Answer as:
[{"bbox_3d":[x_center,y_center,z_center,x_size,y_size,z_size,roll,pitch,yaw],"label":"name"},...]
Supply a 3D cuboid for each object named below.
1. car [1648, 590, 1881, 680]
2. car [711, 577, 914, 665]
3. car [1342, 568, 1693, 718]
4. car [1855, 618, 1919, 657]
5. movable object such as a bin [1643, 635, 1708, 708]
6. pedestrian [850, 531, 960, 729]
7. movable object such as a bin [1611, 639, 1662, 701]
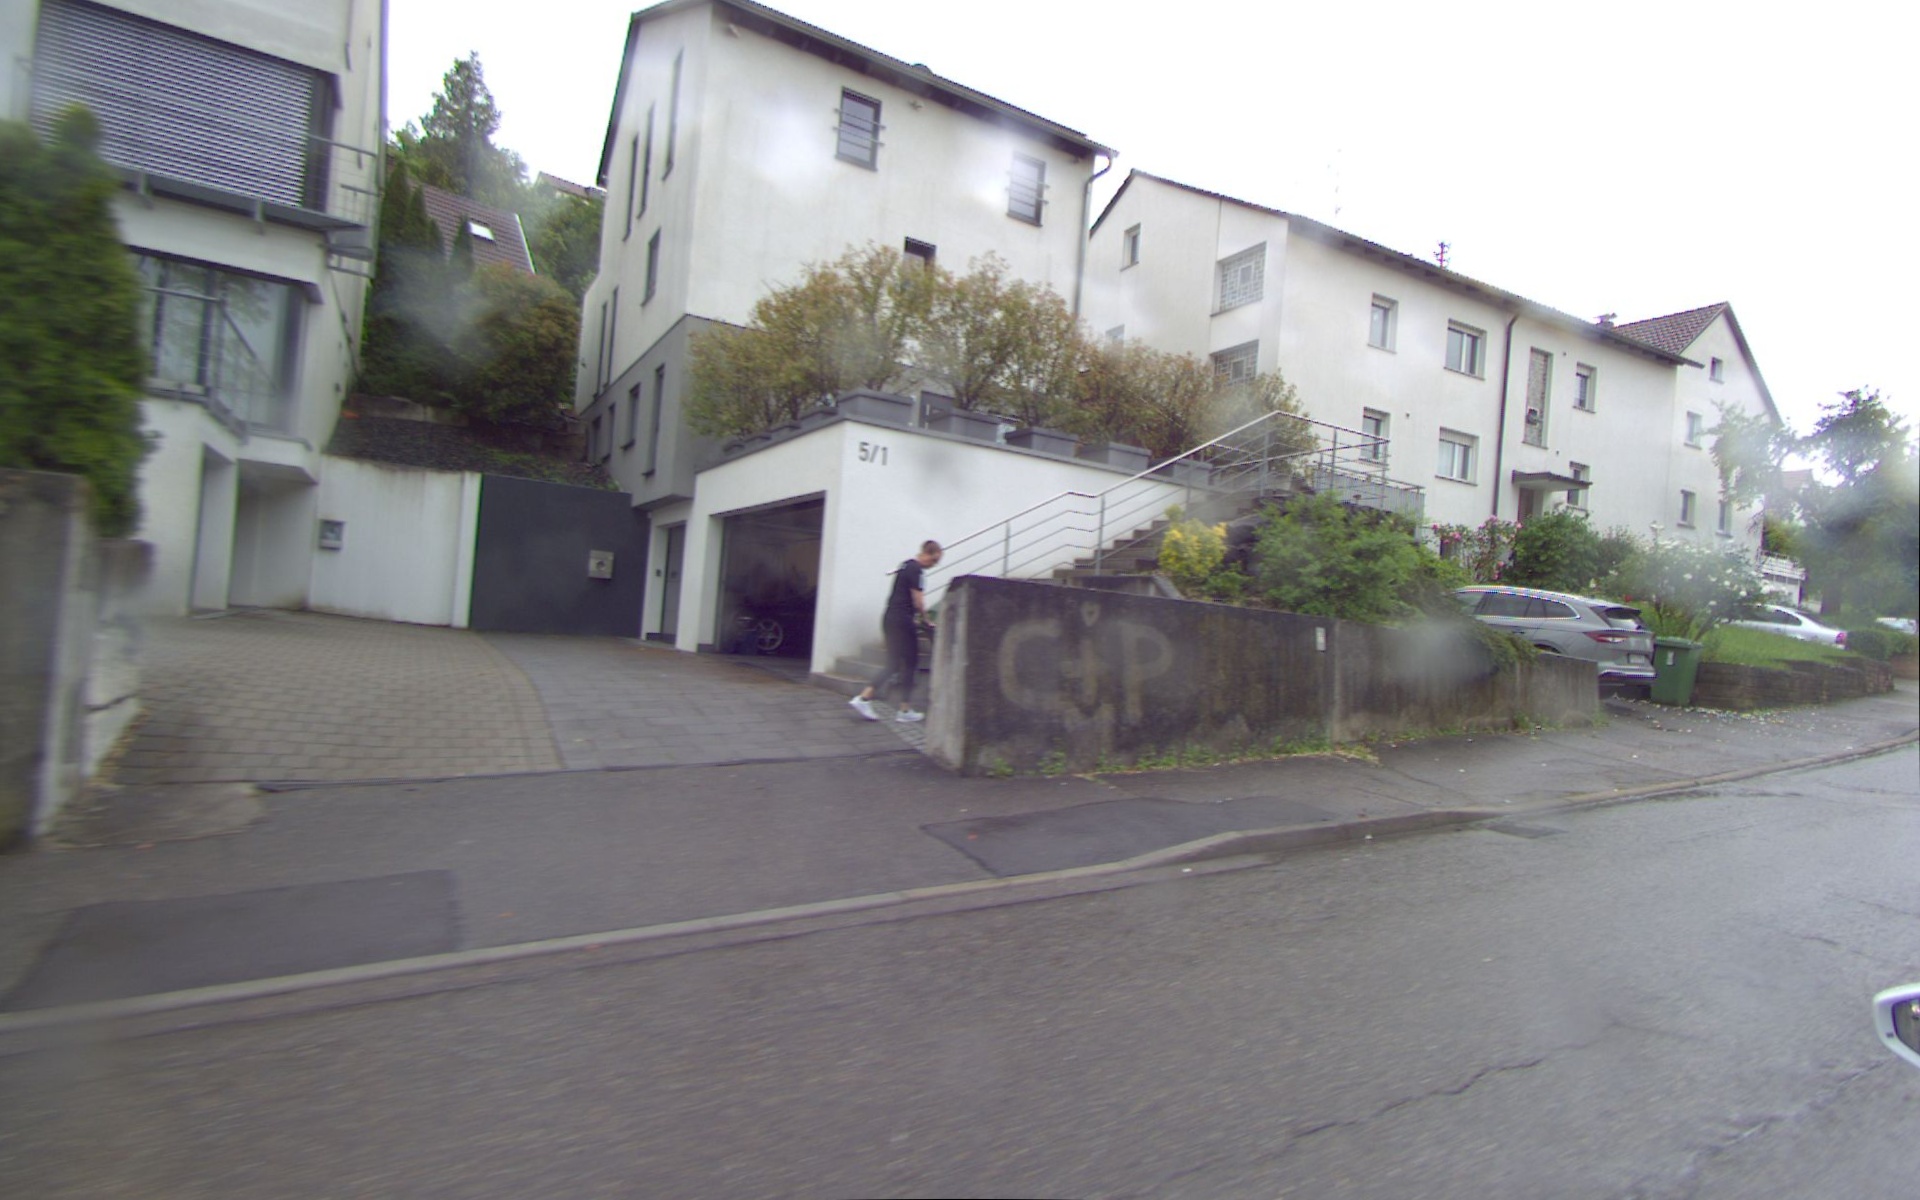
[{"bbox_3d":[20.722,0.845,26.100,1.744,1.451,4.234,3,8,-28],"label":"car"},{"bbox_3d":[-2.685,0.391,18.372,3.261,1.195,1.501,8,-2,-29],"label":"car"},{"bbox_3d":[8.798,0.577,16.288,1.912,1.636,4.482,2,6,-33],"label":"car"},{"bbox_3d":[38.958,1.567,41.987,4.216,1.395,1.750,2,3,-42],"label":"car"},{"bbox_3d":[11.605,1.146,16.291,0.736,1.090,0.533,1,6,-36],"label":"movable object such as a bin"},{"bbox_3d":[-0.492,0.246,8.920,0.725,1.671,0.651,0,2,-37],"label":"pedestrian"},{"bbox_3d":[11.267,1.156,16.730,0.489,0.966,0.466,2,5,-32],"label":"movable object such as a bin"}]
